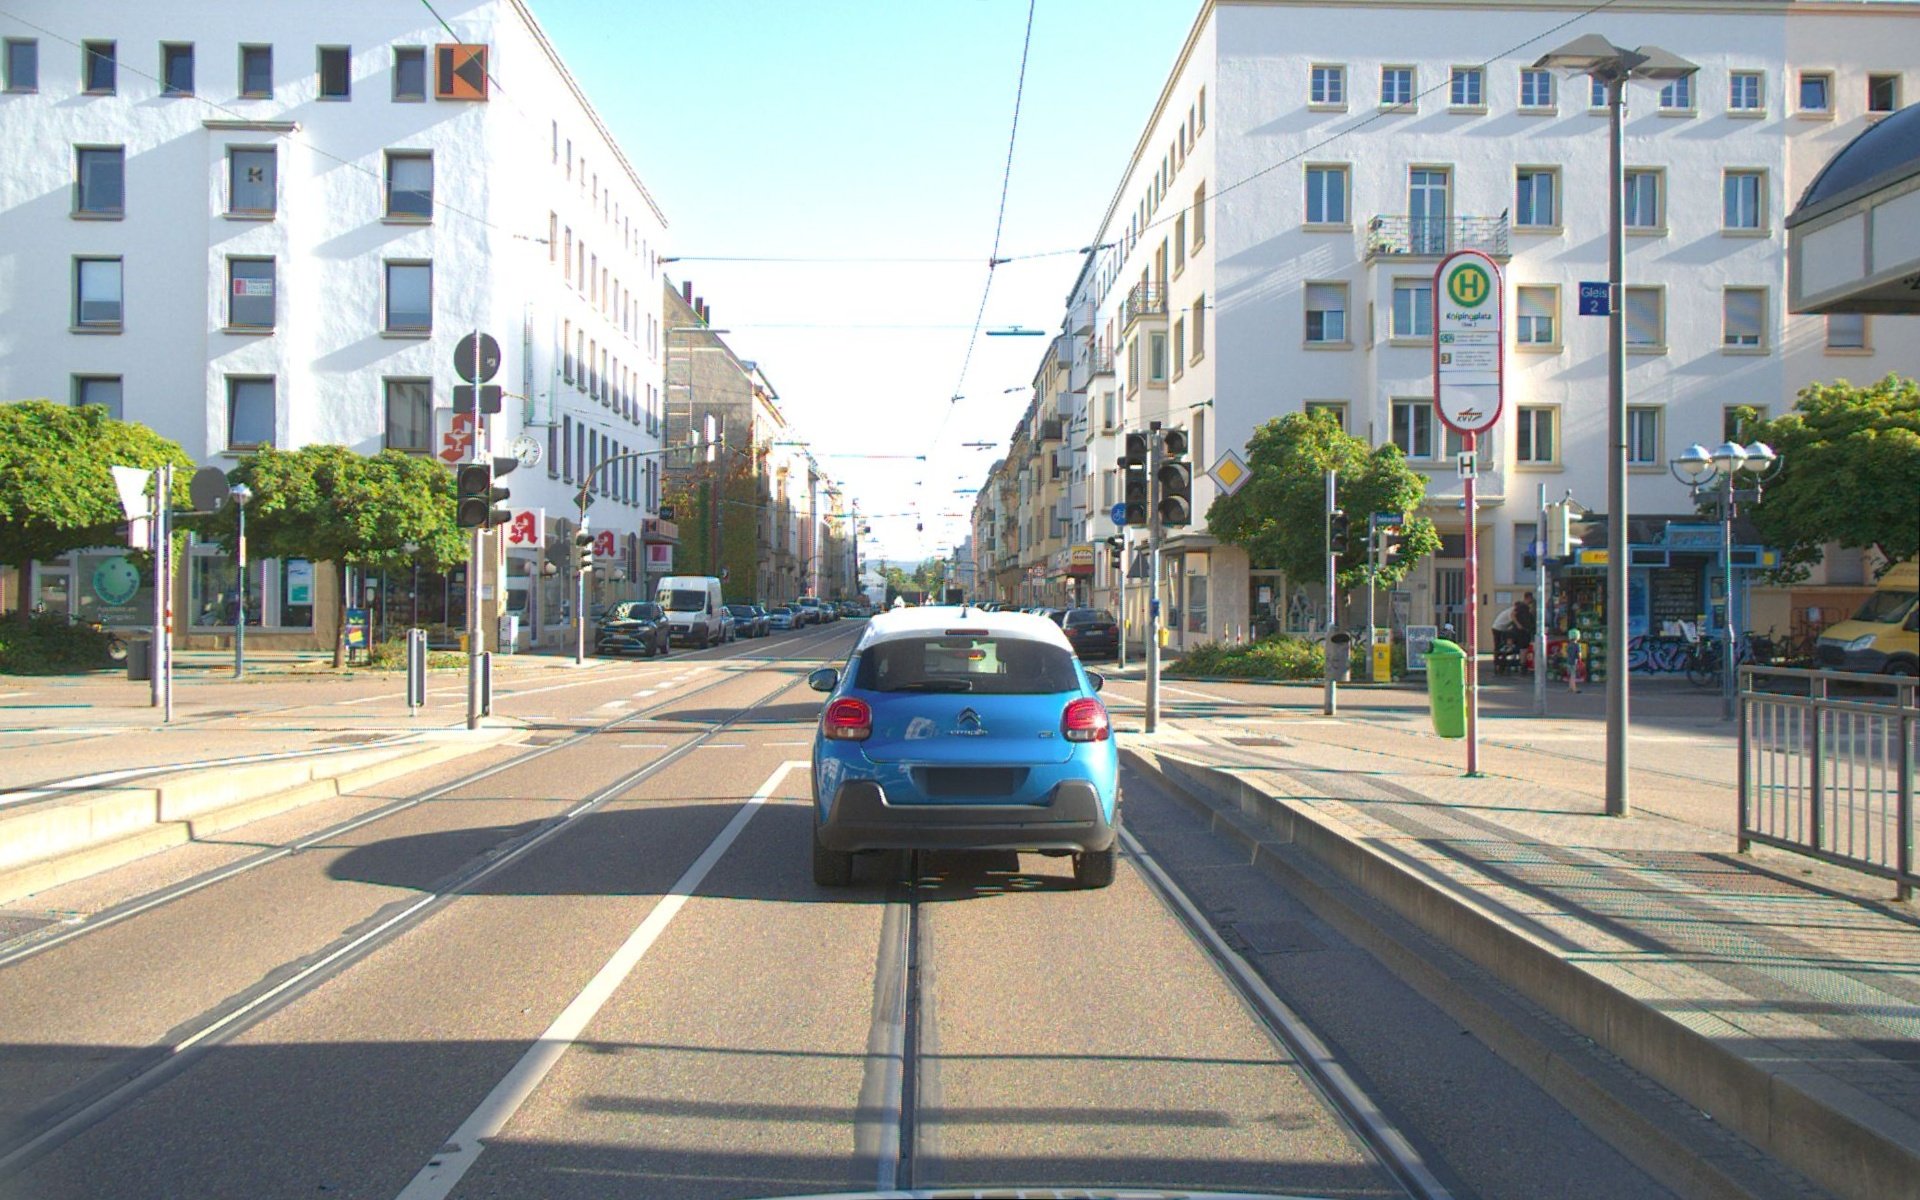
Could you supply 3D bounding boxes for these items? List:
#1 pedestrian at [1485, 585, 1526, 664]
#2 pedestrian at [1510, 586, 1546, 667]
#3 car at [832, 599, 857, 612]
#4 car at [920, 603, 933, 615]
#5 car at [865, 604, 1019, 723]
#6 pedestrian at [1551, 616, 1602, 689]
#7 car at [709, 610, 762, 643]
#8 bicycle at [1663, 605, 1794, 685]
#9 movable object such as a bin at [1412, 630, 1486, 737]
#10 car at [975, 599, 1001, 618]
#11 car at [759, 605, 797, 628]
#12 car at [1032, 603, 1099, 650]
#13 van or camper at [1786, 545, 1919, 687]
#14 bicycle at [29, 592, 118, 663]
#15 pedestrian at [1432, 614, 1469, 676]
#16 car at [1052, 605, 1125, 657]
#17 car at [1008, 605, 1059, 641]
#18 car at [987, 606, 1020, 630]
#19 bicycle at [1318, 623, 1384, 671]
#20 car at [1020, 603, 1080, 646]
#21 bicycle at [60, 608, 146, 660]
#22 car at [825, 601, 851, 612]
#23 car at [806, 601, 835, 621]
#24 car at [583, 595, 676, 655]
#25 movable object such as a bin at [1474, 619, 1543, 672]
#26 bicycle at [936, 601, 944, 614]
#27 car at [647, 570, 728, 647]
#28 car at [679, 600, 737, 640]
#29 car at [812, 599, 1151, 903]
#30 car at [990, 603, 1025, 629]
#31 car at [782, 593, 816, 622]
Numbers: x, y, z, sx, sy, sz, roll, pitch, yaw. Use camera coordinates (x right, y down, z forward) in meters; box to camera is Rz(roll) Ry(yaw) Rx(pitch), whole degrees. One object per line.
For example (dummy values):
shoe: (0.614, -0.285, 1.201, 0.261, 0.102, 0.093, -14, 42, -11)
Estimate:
pedestrian: (13.134, 0.588, 39.848, 0.768, 1.871, 0.678, 0, 0, 2)
pedestrian: (13.304, 0.621, 38.725, 0.639, 1.871, 0.659, 0, 0, 2)
car: (-10.532, 0.522, 151.145, 1.953, 1.176, 4.000, 0, 0, 0)
car: (-4.979, 1.366, 246.883, 1.953, 1.803, 3.999, 0, 0, -1)
car: (-0.271, 0.809, 23.380, 1.944, 1.490, 4.814, 1, 0, -1)
pedestrian: (12.567, 1.068, 33.744, 0.715, 1.434, 0.755, 0, 3, -1)
car: (-10.158, 1.185, 75.218, 1.953, 1.422, 4.155, 1, -1, -2)
bicycle: (15.891, 0.928, 34.224, 2.336, 1.558, 0.726, 2, 0, -2)
movable object such as a bin: (3.764, 0.636, 12.751, 0.439, 0.800, 0.489, 0, 0, 2)
car: (2.224, 0.656, 130.360, 1.953, 1.490, 4.000, 0, 0, 0)
car: (-10.982, 1.005, 100.204, 1.953, 1.348, 3.921, 1, -1, -2)
car: (3.441, 0.855, 54.832, 1.953, 1.490, 4.000, 0, 0, 0)
van or camper: (20.981, 0.290, 33.842, 6.976, 2.795, 2.371, 0, 1, 0)
bicycle: (-21.341, 0.645, 39.881, 0.605, 1.635, 2.621, 0, 0, 3)
pedestrian: (10.790, 0.991, 36.364, 0.725, 1.339, 0.628, 0, 0, 22)
car: (3.797, 0.903, 49.592, 1.870, 1.490, 4.000, 0, 0, 0)
car: (3.086, 0.950, 70.063, 1.953, 1.490, 4.000, 0, 0, 0)
car: (2.701, 1.101, 104.420, 1.953, 1.490, 4.000, 0, 0, 0)
bicycle: (9.421, 1.130, 39.873, 1.534, 1.140, 0.300, 1, -1, 10)
car: (3.223, 0.860, 60.016, 1.953, 1.527, 4.000, 0, 0, 0)
bicycle: (-20.632, 0.803, 39.868, 0.605, 1.211, 2.621, 0, 0, 2)
car: (-13.355, 0.694, 181.725, 1.951, 1.176, 4.518, 0, 0, 8)
car: (-11.292, 0.917, 134.336, 1.914, 1.579, 3.939, 1, -1, 1)
car: (-9.807, 0.741, 49.364, 1.953, 1.596, 4.401, 3, -1, -2)
movable object such as a bin: (12.438, 1.016, 37.559, 1.174, 1.173, 1.217, 0, 0, 0)
bicycle: (-2.276, 0.872, 191.289, 0.901, 1.413, 3.131, 0, 0, -1)
car: (-9.766, 0.299, 59.729, 2.043, 2.586, 6.203, 1, 0, -2)
car: (-10.082, 0.786, 66.415, 1.850, 1.522, 3.560, 1, -1, -2)
car: (0.077, 0.771, 10.278, 1.693, 1.508, 3.826, 1, 0, -1)
car: (2.839, 0.939, 99.228, 1.953, 1.490, 4.504, 0, 0, 0)
car: (-12.041, 0.584, 123.875, 1.965, 2.049, 4.689, 1, -1, 1)
